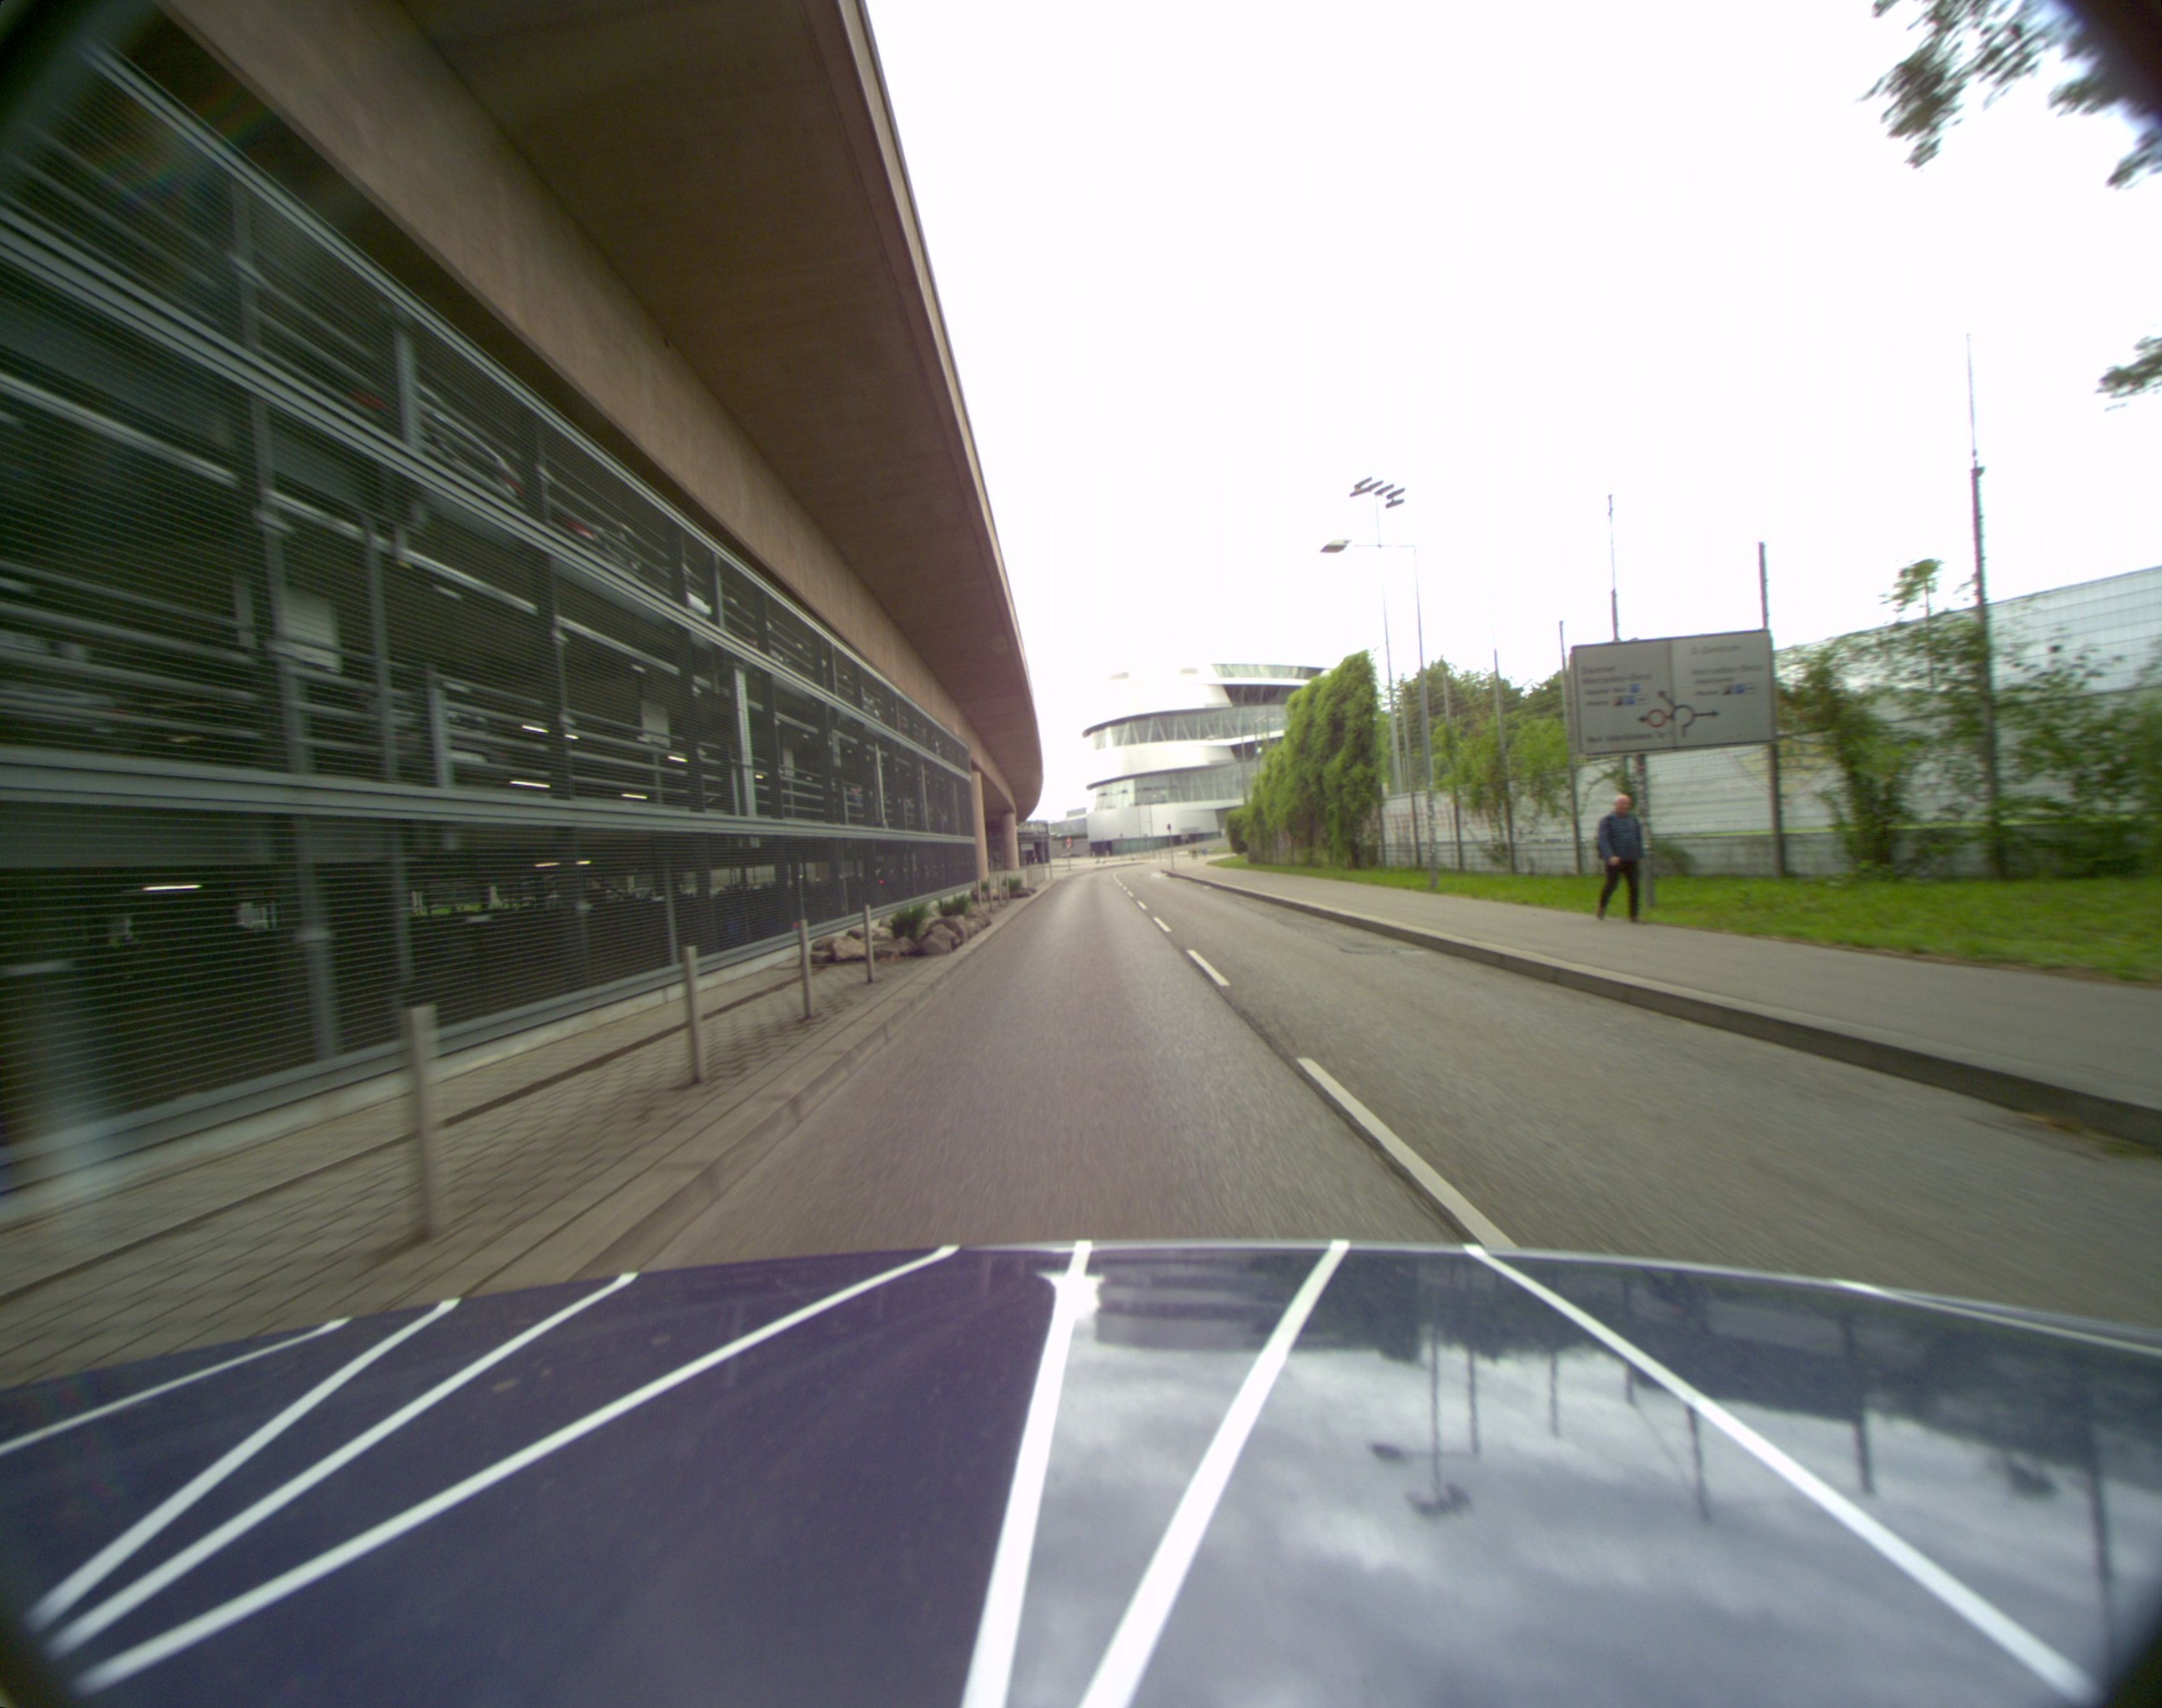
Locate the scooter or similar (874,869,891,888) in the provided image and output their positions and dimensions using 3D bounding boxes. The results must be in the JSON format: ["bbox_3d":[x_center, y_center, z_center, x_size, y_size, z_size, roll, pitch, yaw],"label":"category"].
[{"bbox_3d":[-12.477,1.508,47.799,0.399,1.127,1.252,-4,-1,12],"label":"scooter or similar"}]

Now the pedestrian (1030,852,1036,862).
[{"bbox_3d":[-8.019,0.515,127.390,0.773,1.695,0.786,-4,0,-15],"label":"pedestrian"}]

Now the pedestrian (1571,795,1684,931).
[{"bbox_3d":[7.642,0.128,10.672,0.806,1.770,0.920,-4,0,-1],"label":"pedestrian"}]

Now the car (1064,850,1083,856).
[{"bbox_3d":[-2.111,-0.233,214.790,4.907,1.390,1.534,-4,-1,-9],"label":"car"}]

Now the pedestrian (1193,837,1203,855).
[{"bbox_3d":[13.258,-0.879,86.203,1.038,2.001,0.785,-4,0,9],"label":"pedestrian"}]

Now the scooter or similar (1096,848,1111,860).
[{"bbox_3d":[2.702,0.005,90.721,1.649,1.288,0.518,-5,-1,-8],"label":"scooter or similar"}]

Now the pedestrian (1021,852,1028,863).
[{"bbox_3d":[-9.539,0.536,128.491,0.783,1.787,0.864,-4,0,-17],"label":"pedestrian"}]

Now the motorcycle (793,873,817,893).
[{"bbox_3d":[-17.667,1.860,48.650,0.673,1.212,2.079,-4,-1,2],"label":"motorcycle"}]
